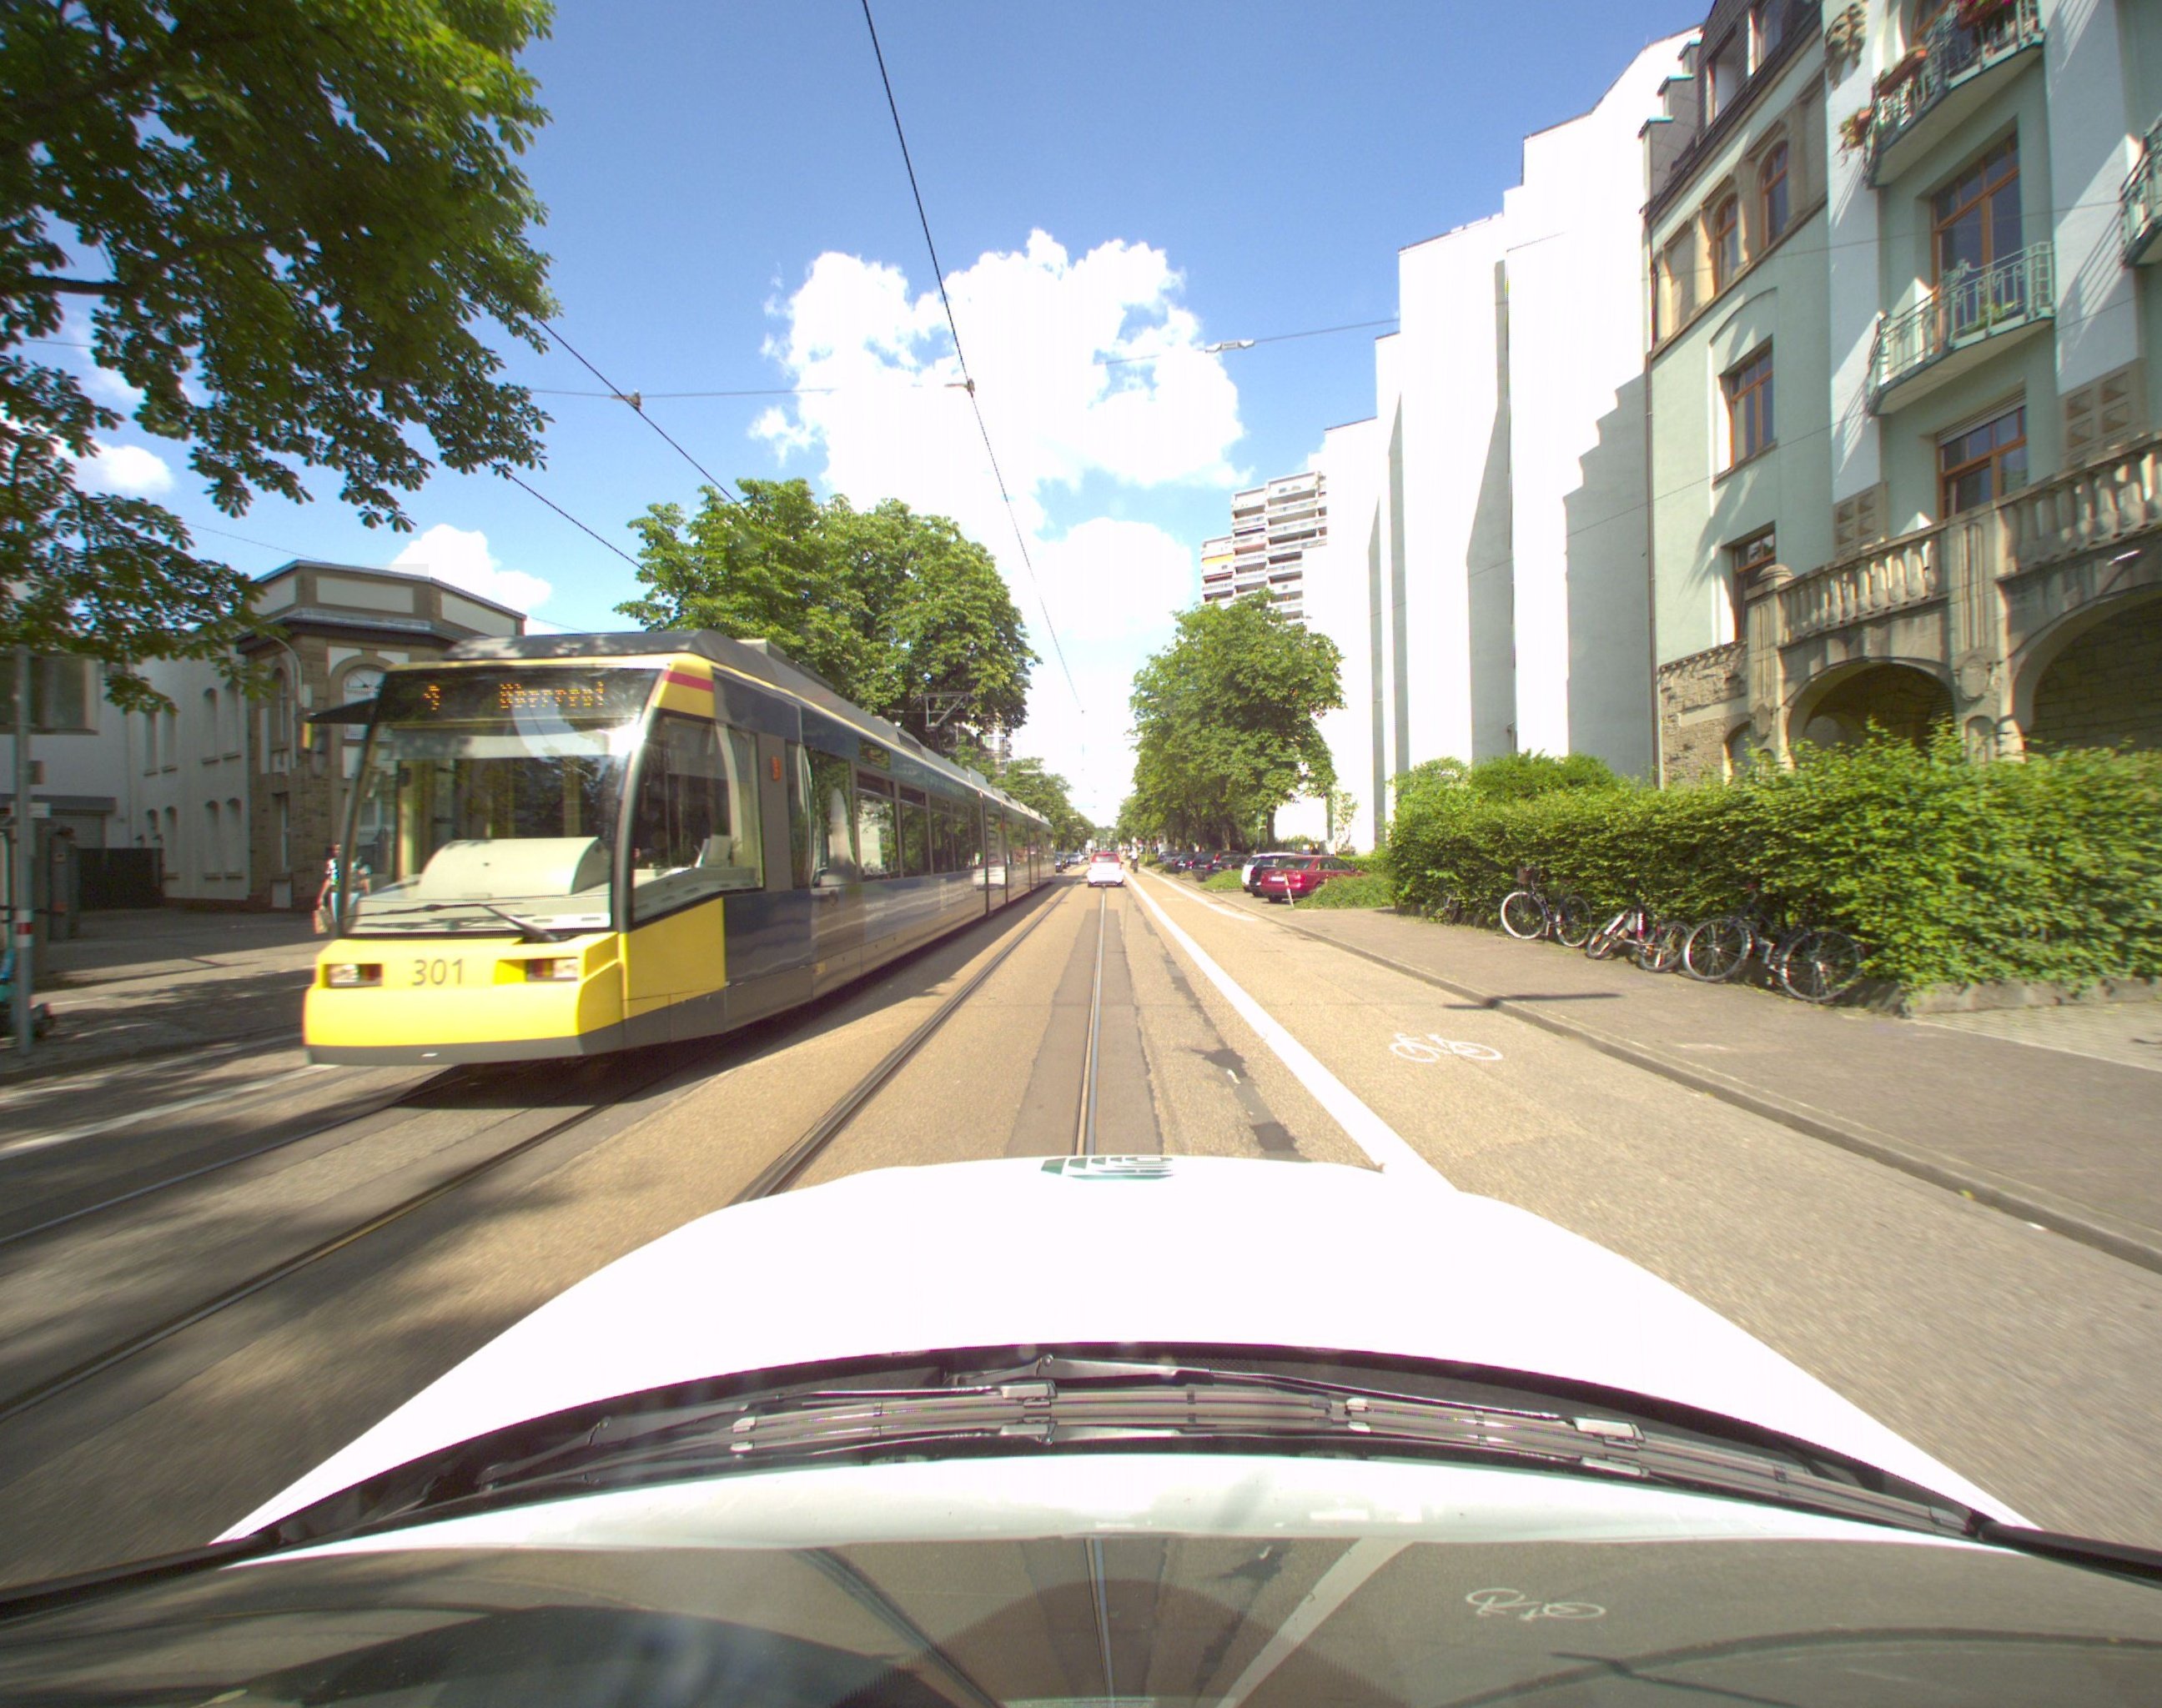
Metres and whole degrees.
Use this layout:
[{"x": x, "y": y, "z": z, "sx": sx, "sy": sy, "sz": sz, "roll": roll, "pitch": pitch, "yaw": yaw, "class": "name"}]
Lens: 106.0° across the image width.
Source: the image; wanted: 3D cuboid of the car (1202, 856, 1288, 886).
[{"x": 7.706, "y": 0.770, "z": 38.110, "sx": 4.199, "sy": 1.349, "sz": 1.882, "roll": 1, "pitch": 0, "yaw": -44, "class": "car"}]

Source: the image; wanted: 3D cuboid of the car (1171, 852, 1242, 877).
[{"x": 7.894, "y": 0.673, "z": 50.995, "sx": 4.562, "sy": 1.442, "sz": 2.007, "roll": 1, "pitch": -1, "yaw": -44, "class": "car"}]

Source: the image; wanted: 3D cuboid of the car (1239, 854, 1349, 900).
[{"x": 7.380, "y": 0.746, "z": 28.006, "sx": 4.021, "sy": 1.448, "sz": 1.679, "roll": 0, "pitch": 0, "yaw": -41, "class": "car"}]

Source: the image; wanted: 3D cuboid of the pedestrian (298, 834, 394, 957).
[{"x": -12.441, "y": 0.677, "z": 13.811, "sx": 0.821, "sy": 2.014, "sz": 0.826, "roll": 1, "pitch": -1, "yaw": 1, "class": "pedestrian"}]

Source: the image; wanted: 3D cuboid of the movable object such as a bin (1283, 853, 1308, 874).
[{"x": 13.356, "y": 0.586, "z": 50.759, "sx": 1.270, "sy": 1.318, "sz": 1.326, "roll": 0, "pitch": 0, "yaw": 1, "class": "movable object such as a bin"}]

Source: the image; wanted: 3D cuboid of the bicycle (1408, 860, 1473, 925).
[{"x": 6.615, "y": 0.671, "z": 15.081, "sx": 0.278, "sy": 1.109, "sz": 2.011, "roll": -4, "pitch": 0, "yaw": 2, "class": "bicycle"}]

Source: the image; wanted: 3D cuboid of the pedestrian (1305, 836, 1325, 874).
[{"x": 11.548, "y": 0.058, "z": 40.175, "sx": 0.756, "sy": 1.873, "sz": 1.004, "roll": -1, "pitch": 0, "yaw": 7, "class": "pedestrian"}]

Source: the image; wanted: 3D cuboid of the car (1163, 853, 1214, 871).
[{"x": 8.927, "y": 0.629, "z": 67.540, "sx": 4.262, "sy": 1.420, "sz": 1.704, "roll": -1, "pitch": 1, "yaw": -37, "class": "car"}]

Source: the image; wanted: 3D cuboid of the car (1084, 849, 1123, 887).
[{"x": 1.036, "y": 0.624, "z": 37.158, "sx": 1.659, "sy": 1.624, "sz": 3.622, "roll": 1, "pitch": 0, "yaw": 2, "class": "car"}]

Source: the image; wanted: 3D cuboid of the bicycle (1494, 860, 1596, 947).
[{"x": 6.524, "y": 0.652, "z": 11.563, "sx": 0.278, "sy": 1.109, "sz": 2.011, "roll": -4, "pitch": 0, "yaw": 2, "class": "bicycle"}]

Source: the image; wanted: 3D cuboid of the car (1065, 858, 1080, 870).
[{"x": -1.096, "y": 1.250, "z": 106.704, "sx": 1.767, "sy": 1.416, "sz": 3.853, "roll": -3, "pitch": 0, "yaw": 1, "class": "car"}]

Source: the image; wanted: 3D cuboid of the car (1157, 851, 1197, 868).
[{"x": 9.153, "y": 0.547, "z": 77.367, "sx": 4.023, "sy": 1.486, "sz": 1.596, "roll": -2, "pitch": 0, "yaw": -44, "class": "car"}]

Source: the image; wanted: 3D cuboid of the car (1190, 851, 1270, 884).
[{"x": 7.544, "y": 0.659, "z": 41.051, "sx": 4.021, "sy": 1.574, "sz": 1.883, "roll": 1, "pitch": 0, "yaw": -41, "class": "car"}]

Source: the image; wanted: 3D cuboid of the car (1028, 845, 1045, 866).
[{"x": -5.718, "y": 0.203, "z": 104.780, "sx": 1.763, "sy": 2.639, "sz": 5.324, "roll": 1, "pitch": 0, "yaw": 2, "class": "car"}]

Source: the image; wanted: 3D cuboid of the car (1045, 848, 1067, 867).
[{"x": -2.304, "y": 0.337, "z": 76.373, "sx": 1.819, "sy": 1.727, "sz": 4.391, "roll": 1, "pitch": 0, "yaw": 1, "class": "car"}]

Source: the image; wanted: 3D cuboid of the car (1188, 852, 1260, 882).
[{"x": 7.830, "y": 0.674, "z": 44.421, "sx": 4.098, "sy": 1.443, "sz": 1.705, "roll": -1, "pitch": 2, "yaw": -43, "class": "car"}]

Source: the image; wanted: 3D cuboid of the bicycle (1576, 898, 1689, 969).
[{"x": 6.481, "y": 0.904, "z": 9.650, "sx": 0.278, "sy": 0.677, "sz": 1.559, "roll": -4, "pitch": 0, "yaw": 2, "class": "bicycle"}]

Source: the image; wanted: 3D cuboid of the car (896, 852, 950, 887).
[{"x": -8.055, "y": 0.771, "z": 41.930, "sx": 1.744, "sy": 1.665, "sz": 4.721, "roll": 1, "pitch": 0, "yaw": 1, "class": "car"}]

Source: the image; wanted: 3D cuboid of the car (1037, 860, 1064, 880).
[{"x": -2.314, "y": 1.214, "z": 63.276, "sx": 1.792, "sy": 1.388, "sz": 4.427, "roll": -1, "pitch": 0, "yaw": 1, "class": "car"}]

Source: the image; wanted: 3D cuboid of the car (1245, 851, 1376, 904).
[{"x": 7.062, "y": 0.672, "z": 24.836, "sx": 4.182, "sy": 1.423, "sz": 1.844, "roll": -1, "pitch": 0, "yaw": -41, "class": "car"}]

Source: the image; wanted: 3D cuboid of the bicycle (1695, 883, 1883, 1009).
[{"x": 6.423, "y": 0.781, "z": 7.497, "sx": 0.272, "sy": 0.907, "sz": 1.669, "roll": -4, "pitch": 1, "yaw": 2, "class": "bicycle"}]

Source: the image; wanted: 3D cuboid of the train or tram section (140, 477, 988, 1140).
[{"x": -3.503, "y": -0.212, "z": 10.535, "sx": 2.643, "sy": 3.436, "sz": 12.320, "roll": -3, "pitch": 0, "yaw": 2, "class": "train or tram section"}]

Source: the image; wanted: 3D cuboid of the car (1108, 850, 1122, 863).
[{"x": 4.253, "y": 0.277, "z": 102.928, "sx": 1.659, "sy": 1.624, "sz": 3.622, "roll": -1, "pitch": 0, "yaw": 1, "class": "car"}]

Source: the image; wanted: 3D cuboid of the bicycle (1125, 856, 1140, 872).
[{"x": 3.705, "y": 0.732, "z": 58.510, "sx": 0.870, "sy": 1.126, "sz": 2.140, "roll": 1, "pitch": 0, "yaw": 8, "class": "bicycle"}]

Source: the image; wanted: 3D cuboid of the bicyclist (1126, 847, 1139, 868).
[{"x": 3.714, "y": 0.256, "z": 58.656, "sx": 0.885, "sy": 1.529, "sz": 1.087, "roll": 1, "pitch": -1, "yaw": 8, "class": "bicyclist"}]

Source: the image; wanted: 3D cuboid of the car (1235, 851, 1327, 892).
[{"x": 7.754, "y": 0.636, "z": 31.391, "sx": 4.023, "sy": 1.461, "sz": 1.517, "roll": 0, "pitch": 0, "yaw": -44, "class": "car"}]

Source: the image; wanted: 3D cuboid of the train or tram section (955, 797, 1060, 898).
[{"x": -2.704, "y": -0.194, "z": 35.093, "sx": 2.643, "sy": 3.356, "sz": 14.114, "roll": -3, "pitch": 0, "yaw": 2, "class": "train or tram section"}]

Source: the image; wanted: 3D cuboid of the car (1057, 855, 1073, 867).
[{"x": -2.013, "y": 0.912, "z": 104.867, "sx": 1.794, "sy": 1.508, "sz": 4.537, "roll": 0, "pitch": 0, "yaw": 1, "class": "car"}]

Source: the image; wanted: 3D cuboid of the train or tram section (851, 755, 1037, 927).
[{"x": -3.117, "y": -0.236, "z": 22.337, "sx": 2.643, "sy": 3.389, "sz": 11.477, "roll": -3, "pitch": 0, "yaw": 2, "class": "train or tram section"}]
